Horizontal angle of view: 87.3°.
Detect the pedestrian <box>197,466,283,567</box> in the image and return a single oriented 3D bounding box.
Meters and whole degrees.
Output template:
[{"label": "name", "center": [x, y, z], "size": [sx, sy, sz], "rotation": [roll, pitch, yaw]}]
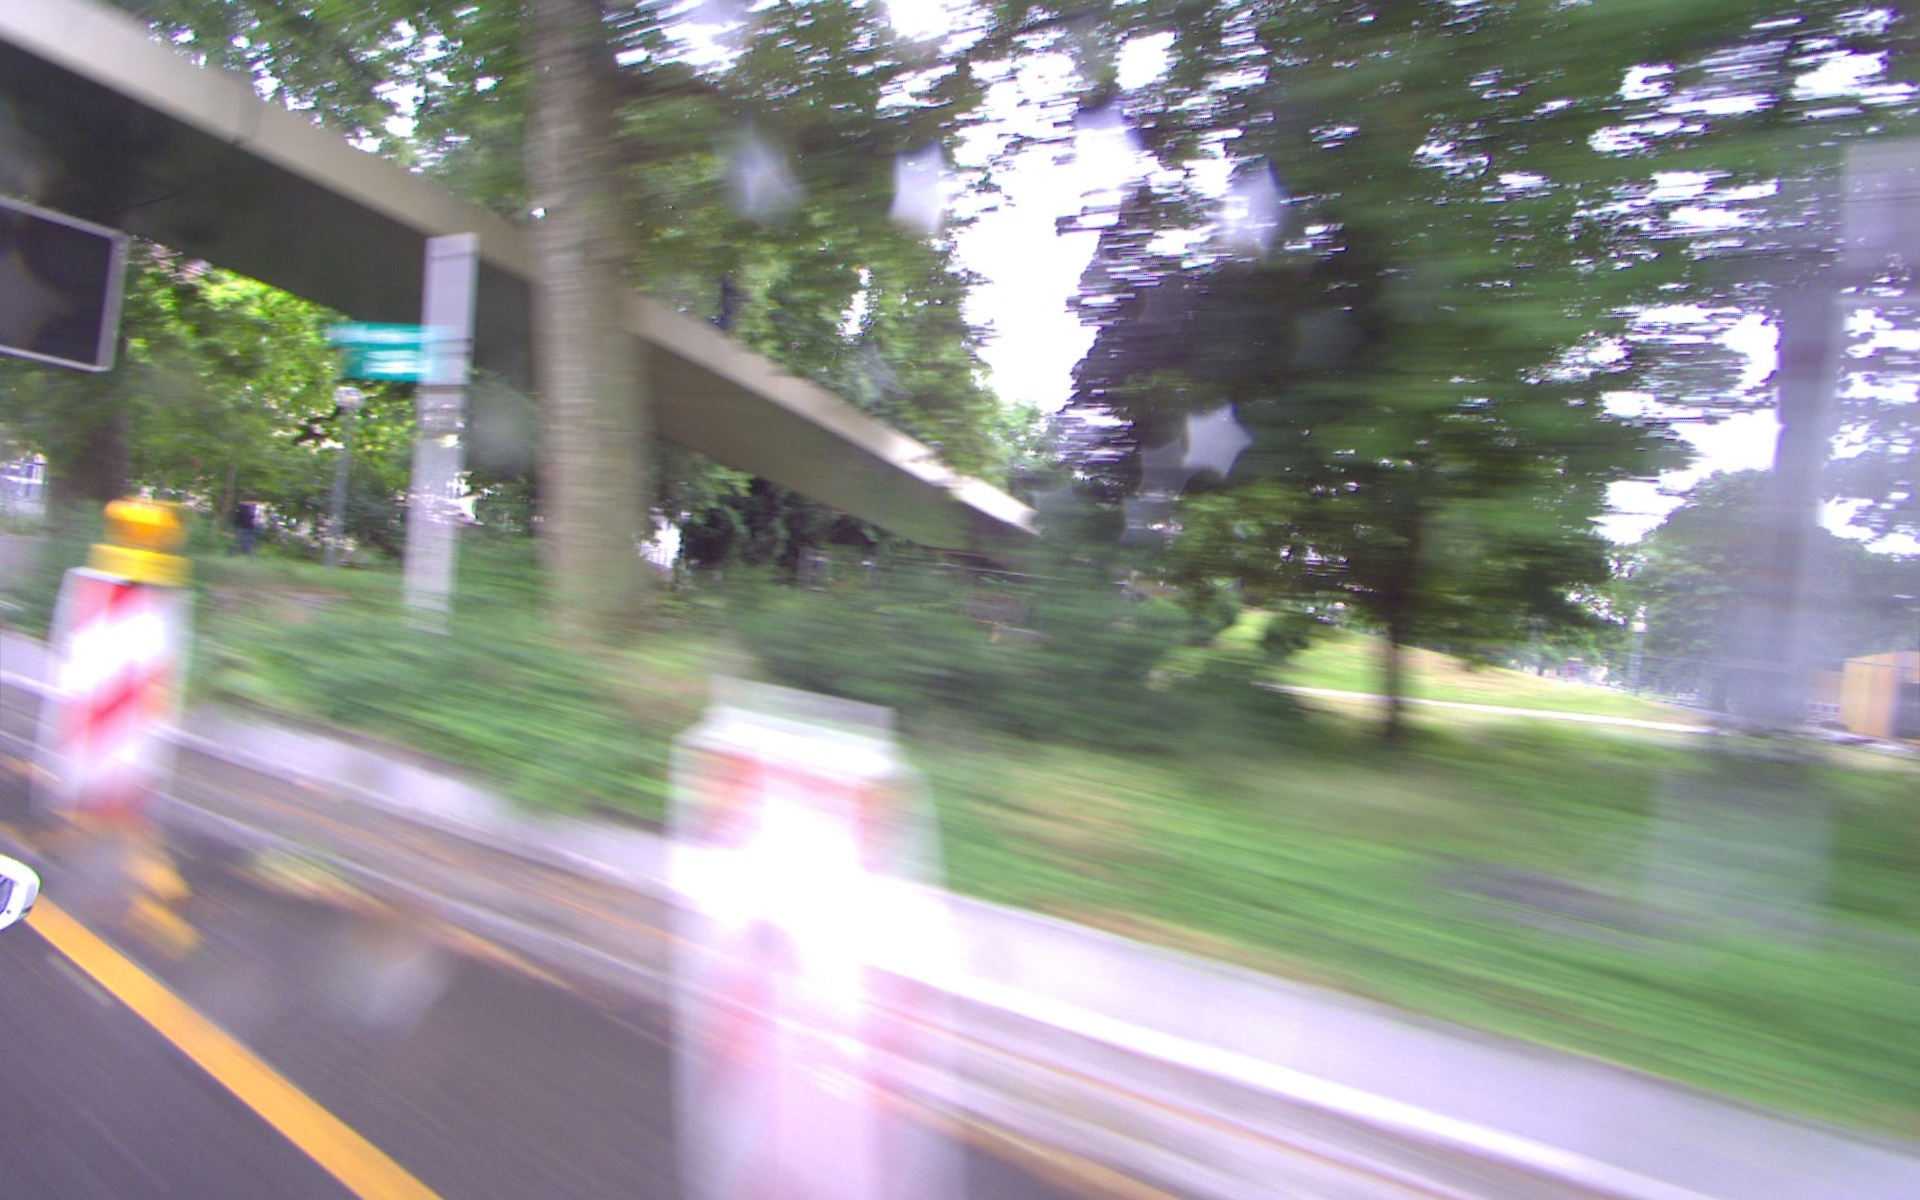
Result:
[{"label": "pedestrian", "center": [-16.008, -1.832, 22.390], "size": [1.021, 2.039, 1.050], "rotation": [7, 1, -10]}]
